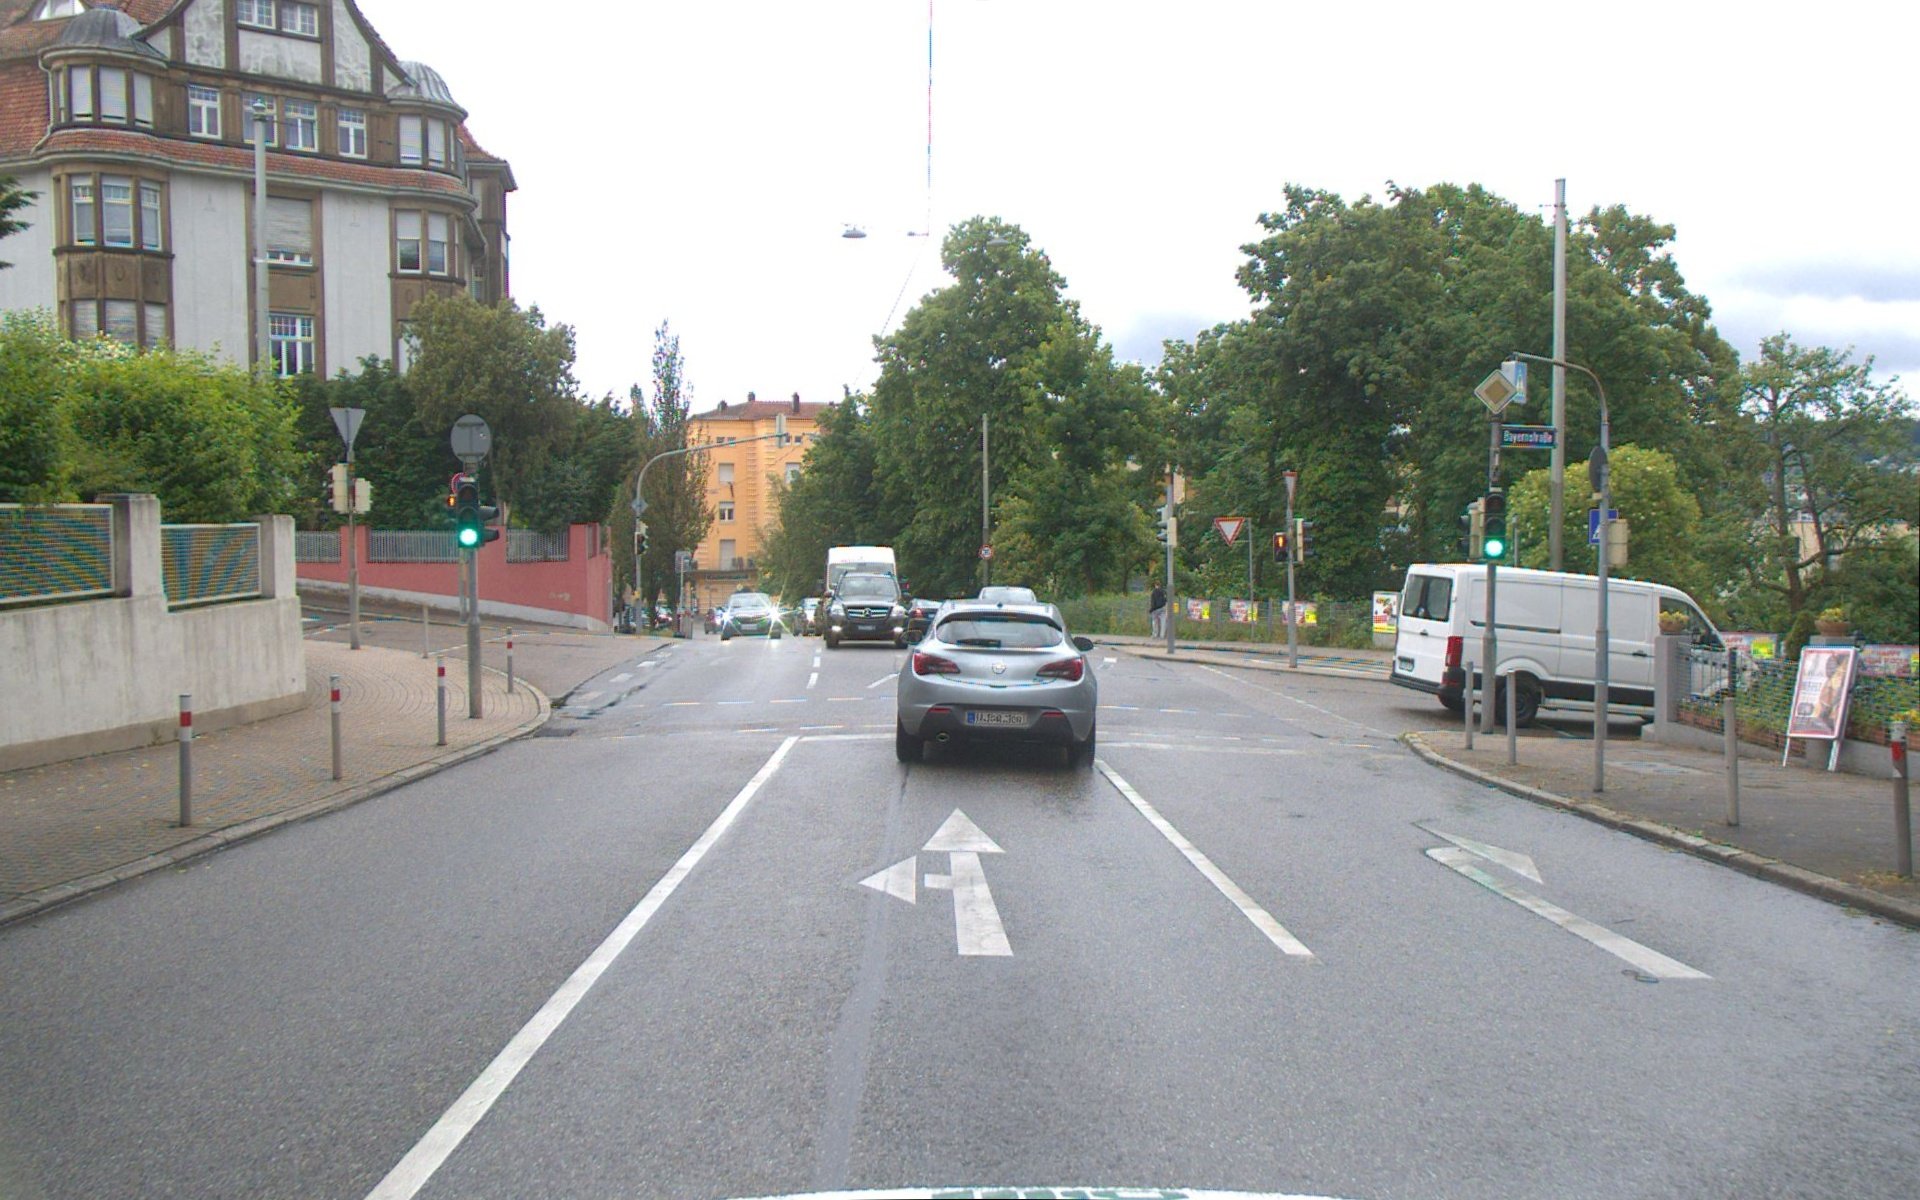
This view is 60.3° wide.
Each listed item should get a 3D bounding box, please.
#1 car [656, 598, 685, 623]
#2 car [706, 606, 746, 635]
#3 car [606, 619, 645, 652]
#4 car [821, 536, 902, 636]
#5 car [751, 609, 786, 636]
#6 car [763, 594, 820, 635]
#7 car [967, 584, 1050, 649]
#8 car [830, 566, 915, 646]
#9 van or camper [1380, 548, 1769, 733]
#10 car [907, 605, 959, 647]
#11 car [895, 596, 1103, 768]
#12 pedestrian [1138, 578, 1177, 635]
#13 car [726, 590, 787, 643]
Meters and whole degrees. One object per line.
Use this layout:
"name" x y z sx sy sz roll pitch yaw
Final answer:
"car" -22.836 0.806 130.356 1.754 1.887 3.980 0 -2 -17
"car" -13.601 1.170 95.957 1.814 1.612 4.263 2 -1 -14
"car" -17.277 1.839 85.394 1.784 1.641 3.985 1 -2 -14
"car" -2.788 -0.348 45.962 2.076 2.590 5.534 -1 -1 -5
"car" -11.659 1.347 100.467 1.613 1.563 3.702 -1 -1 -15
"car" -6.679 0.595 65.356 1.743 1.523 4.248 1 -1 -13
"car" 1.110 0.432 39.684 1.740 1.455 3.784 -1 -2 -2
"car" -2.009 0.107 37.330 1.785 1.681 4.343 1 0 -4
"van or camper" 9.607 0.615 26.018 5.306 2.365 2.105 5 1 -12
"car" -1.005 0.934 60.542 1.358 1.436 3.448 -1 0 -10
"car" 0.290 0.699 16.178 1.778 1.455 3.999 0 0 -1
"pedestrian" 5.852 0.207 49.002 0.753 1.633 0.961 -3 0 -16
"car" -6.516 0.486 53.077 1.817 1.512 5.359 -1 1 -7
